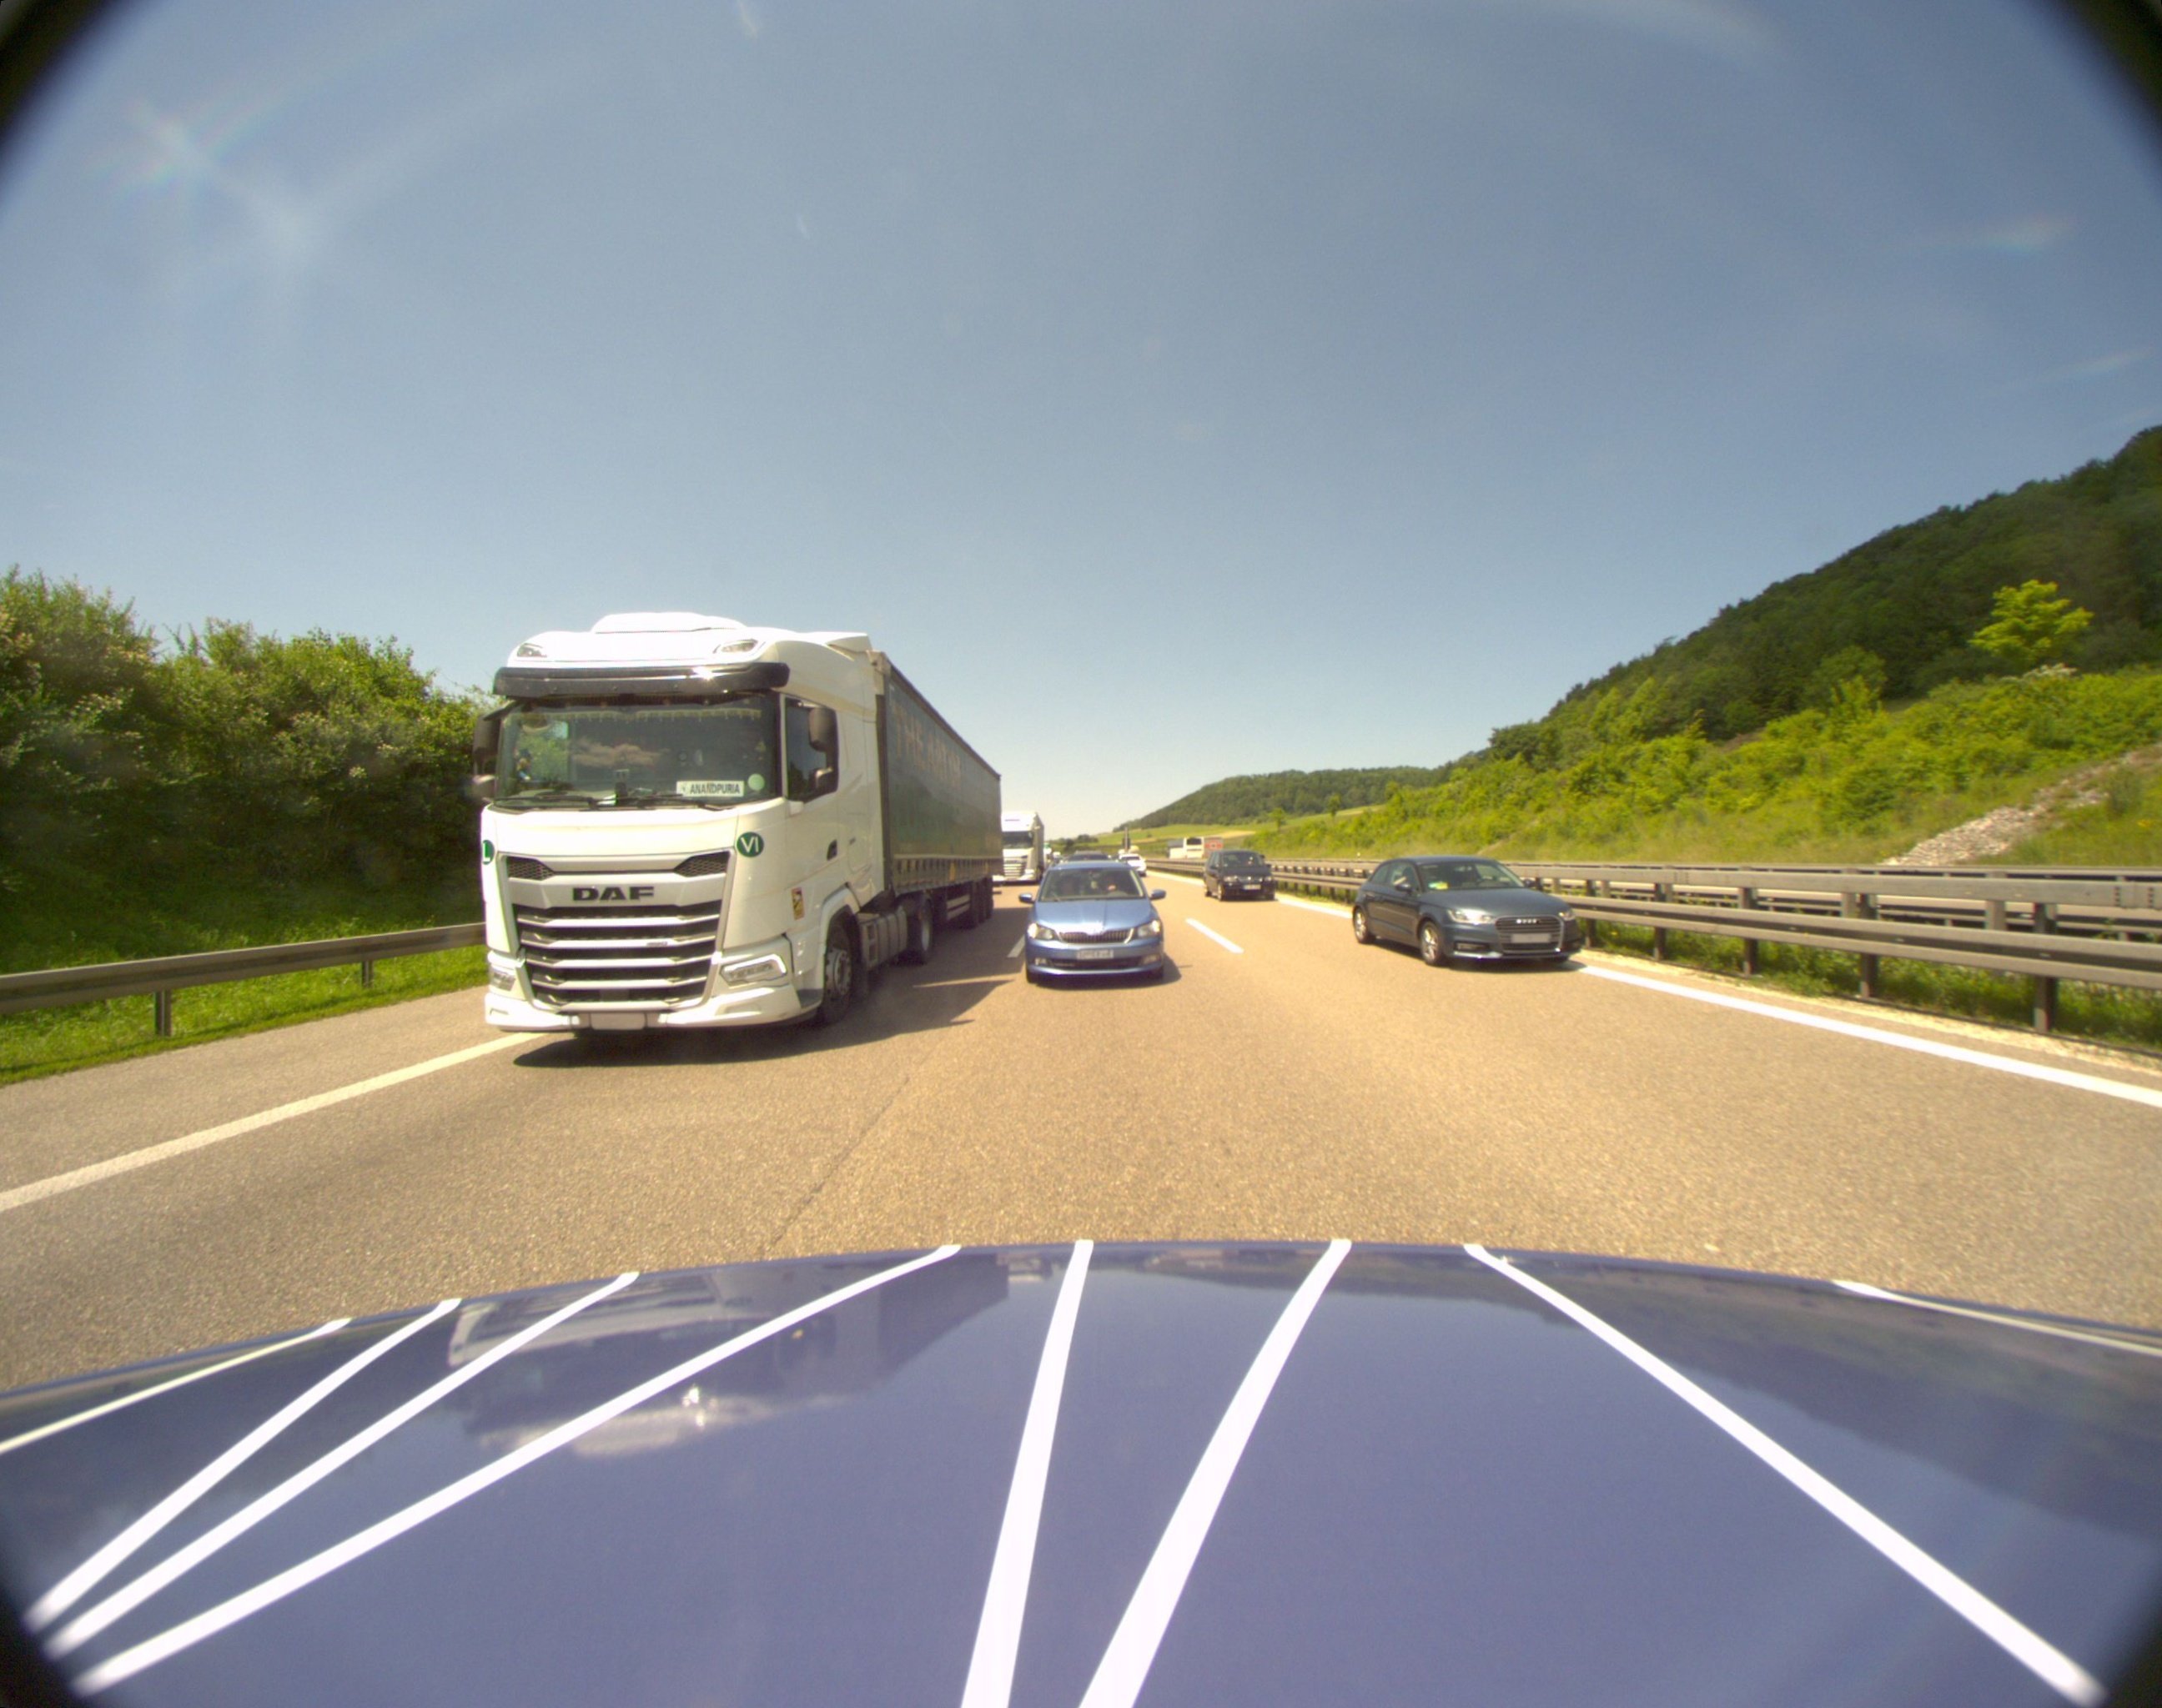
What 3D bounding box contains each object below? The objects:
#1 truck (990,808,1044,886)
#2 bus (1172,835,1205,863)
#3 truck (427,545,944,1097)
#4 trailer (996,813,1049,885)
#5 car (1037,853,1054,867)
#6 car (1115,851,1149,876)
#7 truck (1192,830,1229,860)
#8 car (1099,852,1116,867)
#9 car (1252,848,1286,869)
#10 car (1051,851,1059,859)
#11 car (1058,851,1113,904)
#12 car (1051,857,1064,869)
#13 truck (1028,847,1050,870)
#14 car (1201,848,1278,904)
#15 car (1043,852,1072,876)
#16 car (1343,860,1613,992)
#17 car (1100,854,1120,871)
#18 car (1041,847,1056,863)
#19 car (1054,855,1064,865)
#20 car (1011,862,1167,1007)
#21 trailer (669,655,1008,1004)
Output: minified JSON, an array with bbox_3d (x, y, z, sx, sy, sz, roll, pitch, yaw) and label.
[{"bbox_3d":[-3.556,-0.409,43.707,2.531,4.065,6.078,-2,1,-1],"label":"truck"},{"bbox_3d":[14.816,-0.701,106.199,2.686,3.640,14.816,-1,0,1],"label":"bus"},{"bbox_3d":[-3.435,-0.239,8.707,2.484,3.954,6.380,-1,0,0],"label":"truck"},{"bbox_3d":[-3.664,-0.375,50.687,2.544,4.084,13.625,-2,1,-1],"label":"trailer"},{"bbox_3d":[-4.316,0.711,92.761,1.778,1.655,3.999,-2,1,1],"label":"car"},{"bbox_3d":[3.478,0.634,52.535,1.999,1.612,3.999,-2,0,0],"label":"car"},{"bbox_3d":[18.718,-1.212,110.419,3.626,4.079,9.922,-1,0,1],"label":"truck"},{"bbox_3d":[3.443,0.701,97.625,1.998,1.702,4.001,-2,1,4],"label":"car"},{"bbox_3d":[16.261,0.332,65.885,1.998,1.702,3.999,-2,1,1],"label":"car"},{"bbox_3d":[-6.947,0.173,205.198,1.998,2.002,3.999,-2,1,1],"label":"car"},{"bbox_3d":[0.228,0.757,26.675,1.736,1.674,4.198,-1,0,3],"label":"car"},{"bbox_3d":[-3.995,1.514,129.418,1.998,2.002,3.999,-2,1,1],"label":"car"},{"bbox_3d":[-4.494,0.471,82.033,1.835,2.267,6.594,-2,1,1],"label":"truck"},{"bbox_3d":[5.051,0.636,24.770,1.805,1.625,4.447,-1,0,3],"label":"car"},{"bbox_3d":[-1.766,0.716,58.310,1.998,1.702,3.999,-2,1,1],"label":"car"},{"bbox_3d":[5.087,0.815,10.420,1.692,1.380,4.000,-1,0,2],"label":"car"},{"bbox_3d":[3.227,0.877,83.570,1.998,1.702,4.001,-2,1,4],"label":"car"},{"bbox_3d":[-4.642,0.099,108.218,1.778,2.177,3.999,-2,1,1],"label":"car"},{"bbox_3d":[-4.523,1.229,156.760,1.998,2.002,3.999,-2,1,1],"label":"car"},{"bbox_3d":[0.120,0.900,10.586,1.660,1.481,4.653,-1,0,1],"label":"car"},{"bbox_3d":[-3.430,-0.295,15.559,2.484,3.954,13.654,-1,0,0],"label":"trailer"}]
